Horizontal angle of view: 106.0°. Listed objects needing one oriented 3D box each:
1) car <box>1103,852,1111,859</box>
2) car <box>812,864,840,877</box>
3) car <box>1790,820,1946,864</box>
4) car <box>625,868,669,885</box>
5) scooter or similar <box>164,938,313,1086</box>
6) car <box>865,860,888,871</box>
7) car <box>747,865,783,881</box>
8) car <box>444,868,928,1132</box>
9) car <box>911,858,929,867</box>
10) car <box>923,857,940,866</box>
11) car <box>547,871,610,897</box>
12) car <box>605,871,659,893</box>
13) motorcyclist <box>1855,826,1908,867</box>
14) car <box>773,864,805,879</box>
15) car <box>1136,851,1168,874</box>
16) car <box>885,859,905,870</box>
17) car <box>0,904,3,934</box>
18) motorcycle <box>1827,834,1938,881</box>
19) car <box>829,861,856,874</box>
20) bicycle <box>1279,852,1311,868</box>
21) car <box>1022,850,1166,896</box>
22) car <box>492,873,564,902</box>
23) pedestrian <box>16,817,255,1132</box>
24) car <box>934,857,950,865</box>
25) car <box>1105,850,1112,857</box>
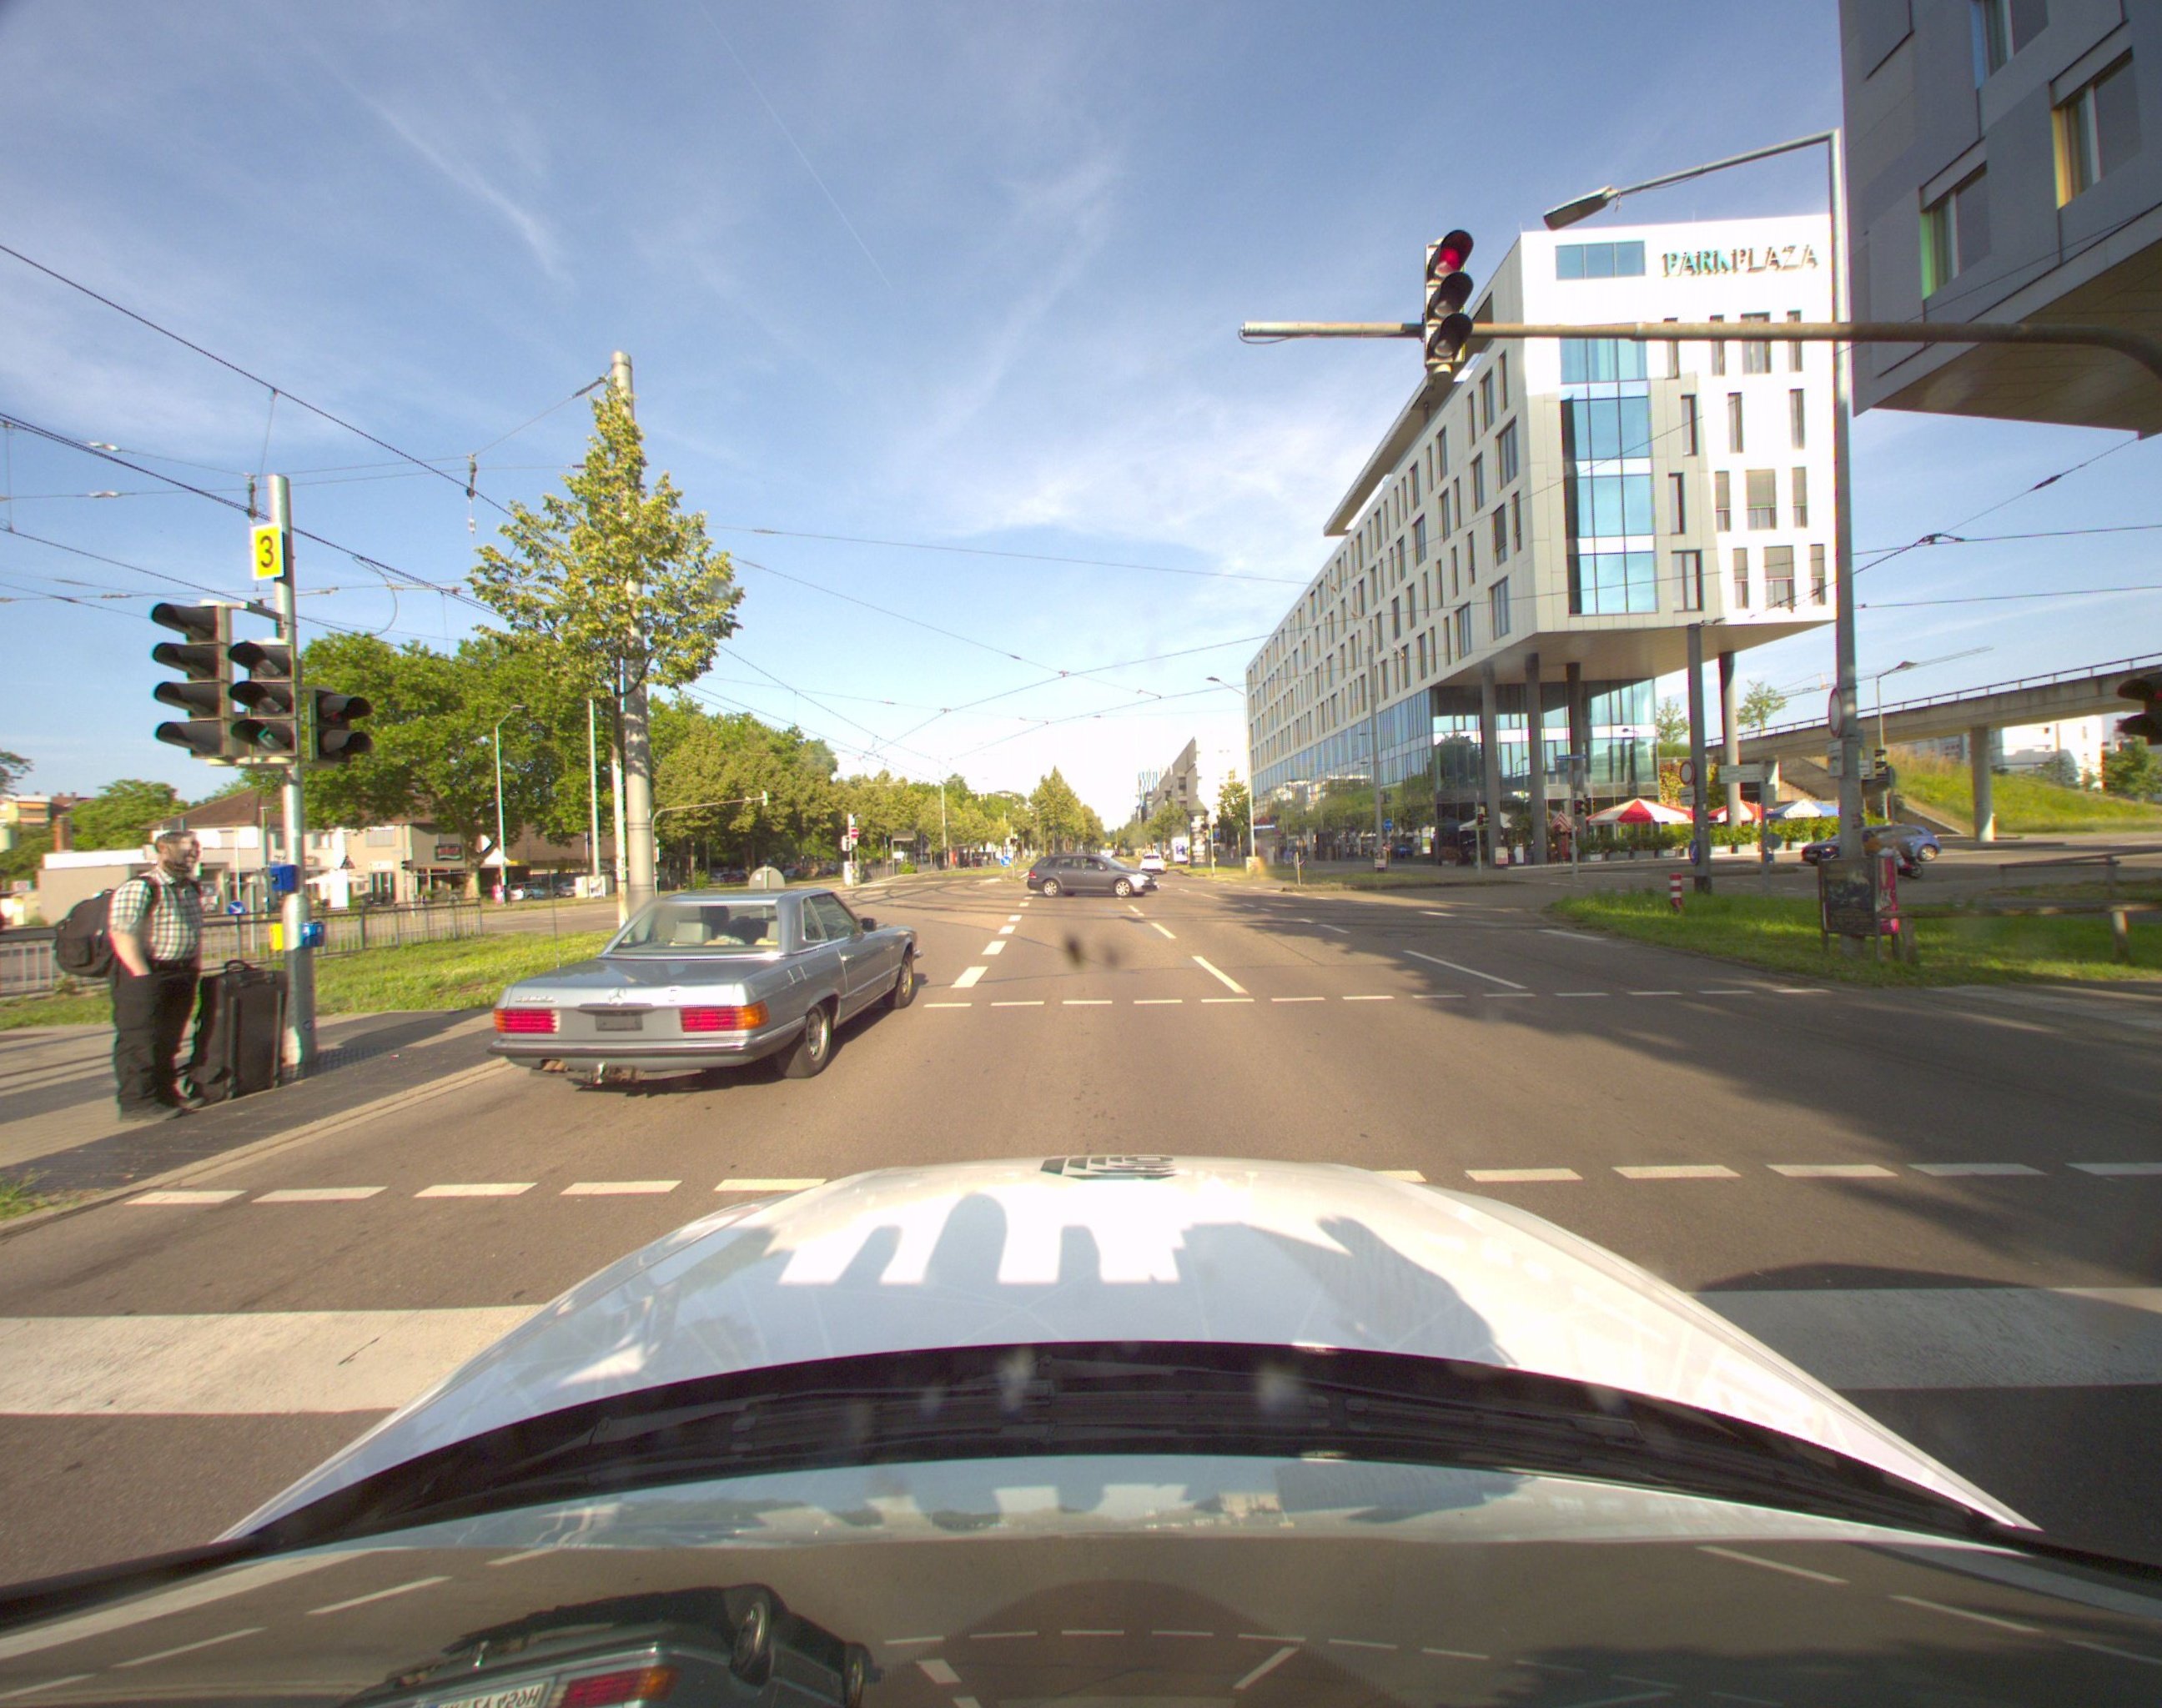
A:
[{"bbox_3d":[6.478,0.433,199.962,1.857,1.684,4.003,0,1,2],"label":"car"},{"bbox_3d":[-32.764,2.090,104.587,1.871,1.559,4.008,-3,0,7],"label":"car"},{"bbox_3d":[30.234,-0.462,31.374,4.170,1.424,1.859,-3,0,1],"label":"car"},{"bbox_3d":[-43.778,2.219,82.160,1.871,1.559,4.008,-3,0,7],"label":"car"},{"bbox_3d":[-5.666,1.049,5.497,0.546,0.907,0.430,-1,0,2],"label":"scooter or similar"},{"bbox_3d":[-30.661,1.736,122.111,1.871,1.559,4.008,-3,0,7],"label":"car"},{"bbox_3d":[-34.742,2.040,89.598,1.871,1.559,4.008,-3,0,7],"label":"car"},{"bbox_3d":[-2.592,0.844,6.695,1.757,1.330,4.401,0,1,1],"label":"car"},{"bbox_3d":[-28.454,1.474,144.217,1.871,1.559,4.008,-3,0,7],"label":"car"},{"bbox_3d":[-27.534,1.406,150.403,1.871,1.559,4.008,-3,0,7],"label":"car"},{"bbox_3d":[-37.708,2.244,61.200,1.871,1.750,4.008,-3,0,7],"label":"car"},{"bbox_3d":[-37.019,2.275,67.242,1.871,1.559,4.008,-3,0,7],"label":"car"},{"bbox_3d":[24.196,-0.236,24.627,0.842,1.202,0.785,0,0,0],"label":"motorcyclist"},{"bbox_3d":[-34.052,2.065,95.158,1.871,1.559,4.008,-3,0,7],"label":"car"},{"bbox_3d":[5.211,0.638,59.364,1.982,1.504,4.103,-3,-1,9],"label":"car"},{"bbox_3d":[-29.696,1.649,130.016,1.871,1.559,4.008,-3,0,7],"label":"car"},{"bbox_3d":[-63.529,3.793,45.640,3.964,1.728,2.005,-2,0,8],"label":"car"},{"bbox_3d":[24.202,0.110,24.617,2.532,1.263,0.821,-3,0,0],"label":"motorcycle"},{"bbox_3d":[-32.094,1.780,109.655,1.871,1.559,4.008,-3,0,7],"label":"car"},{"bbox_3d":[13.858,0.379,52.790,0.778,1.032,1.856,-2,2,-42],"label":"bicycle"},{"bbox_3d":[0.430,0.655,27.673,4.520,1.461,1.744,-1,-1,22],"label":"car"},{"bbox_3d":[-38.226,2.294,56.449,1.871,1.750,4.008,-3,0,7],"label":"car"},{"bbox_3d":[-5.713,0.688,4.960,0.697,1.792,0.636,-1,0,2],"label":"pedestrian"},{"bbox_3d":[-26.783,1.338,156.814,1.871,1.559,4.008,-3,0,7],"label":"car"},{"bbox_3d":[7.751,-0.134,229.666,1.857,1.684,4.003,0,1,2],"label":"car"}]
